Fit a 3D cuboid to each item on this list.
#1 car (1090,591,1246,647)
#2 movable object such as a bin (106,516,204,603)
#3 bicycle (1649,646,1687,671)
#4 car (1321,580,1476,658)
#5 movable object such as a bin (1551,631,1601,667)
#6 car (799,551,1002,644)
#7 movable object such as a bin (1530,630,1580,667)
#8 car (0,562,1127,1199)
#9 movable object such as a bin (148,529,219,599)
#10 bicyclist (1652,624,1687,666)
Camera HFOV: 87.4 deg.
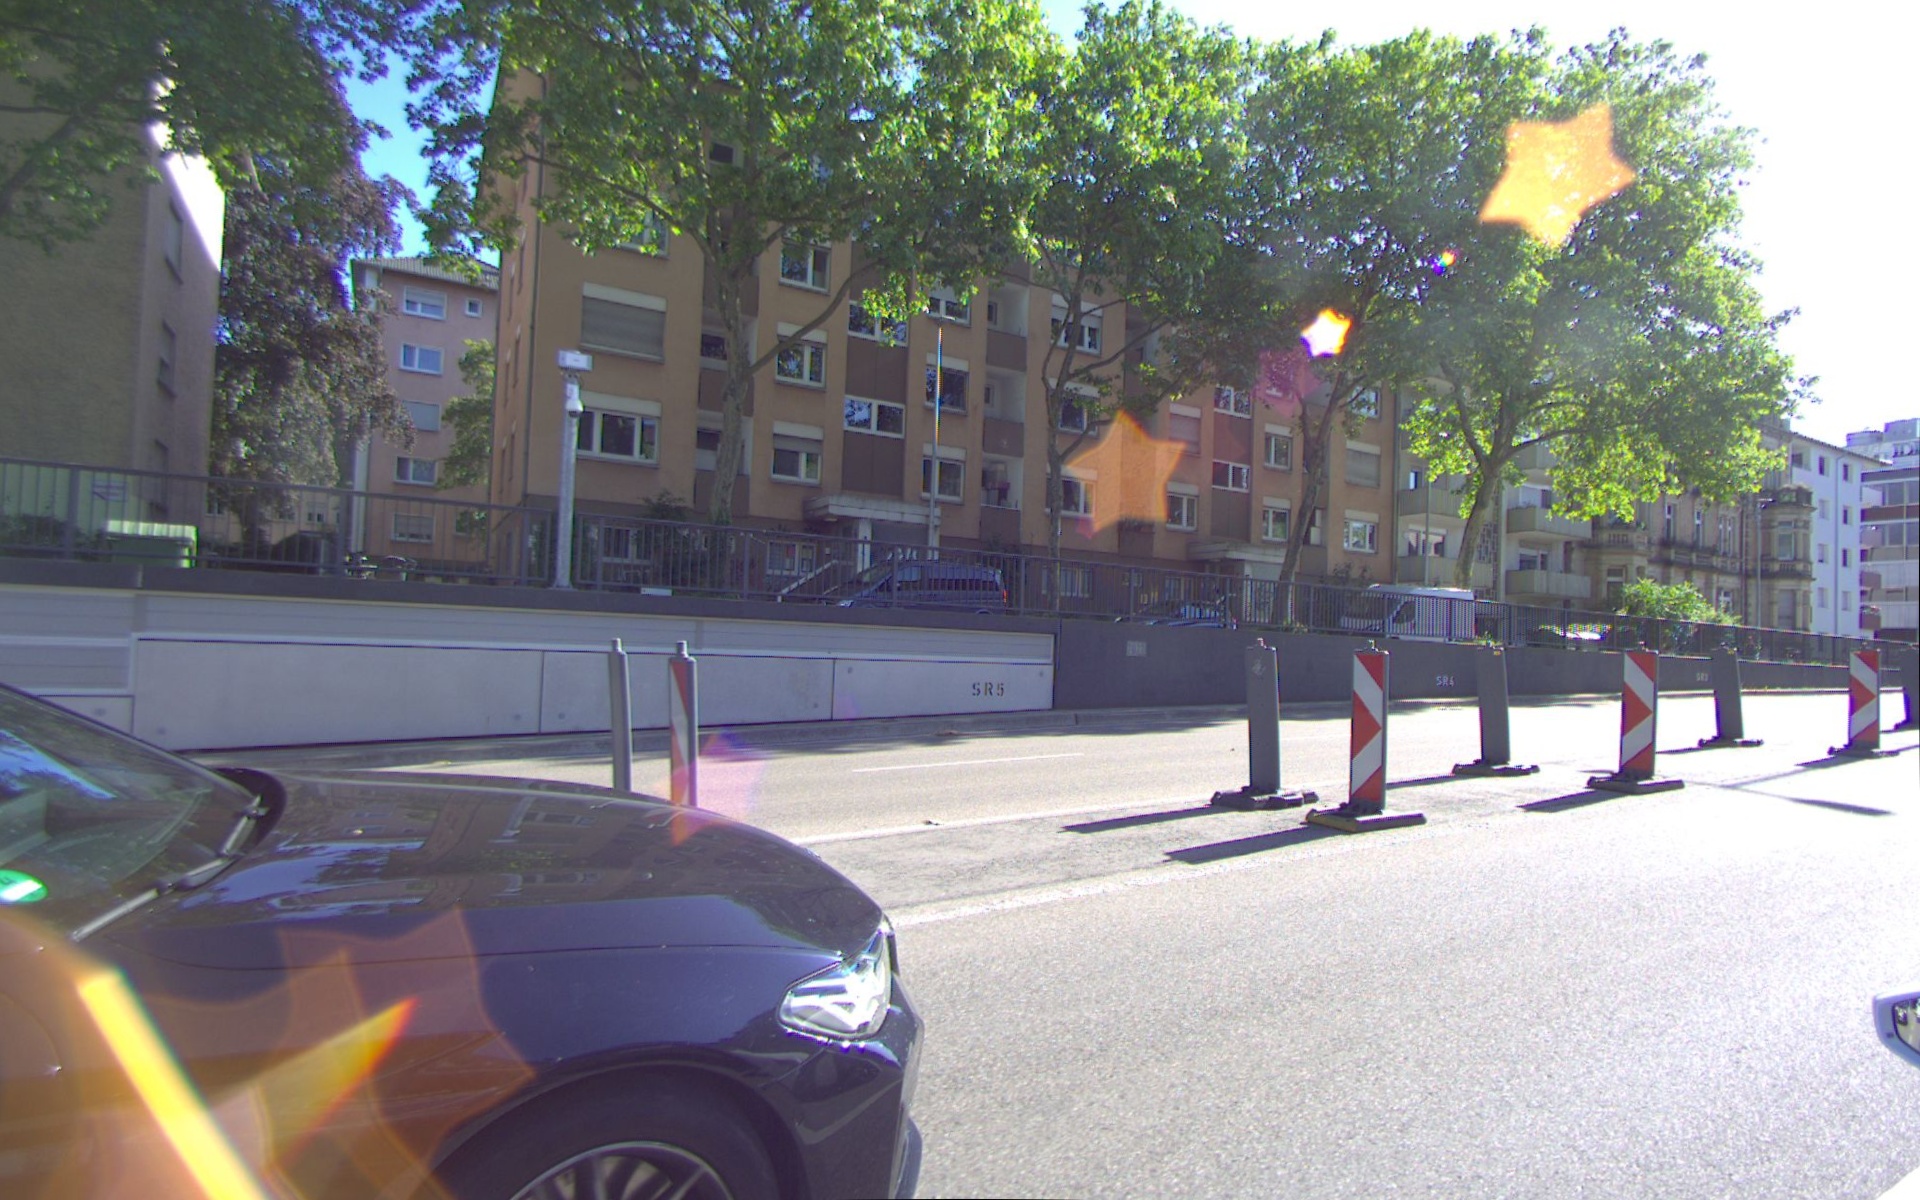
[{"bbox_3d":[5.978,0.545,28.816,4.125,1.407,1.983,3,-1,-31],"label":"car"},{"bbox_3d":[-15.078,-0.730,18.852,1.346,1.504,1.196,3,-1,-38],"label":"movable object such as a bin"},{"bbox_3d":[28.297,2.355,40.125,1.740,0.939,0.652,3,-1,-34],"label":"bicycle"},{"bbox_3d":[14.931,0.666,34.130,5.355,2.390,1.984,3,-1,-30],"label":"car"},{"bbox_3d":[25.804,2.048,42.080,1.309,1.421,1.273,3,-1,-30],"label":"movable object such as a bin"},{"bbox_3d":[-1.404,-0.019,24.290,4.479,1.986,1.954,3,-1,-33],"label":"car"},{"bbox_3d":[24.575,1.989,41.504,1.286,1.421,1.273,3,-1,-30],"label":"movable object such as a bin"},{"bbox_3d":[-2.213,0.668,1.607,4.946,1.458,1.799,1,0,-32],"label":"car"},{"bbox_3d":[-18.013,-0.814,23.352,1.136,1.504,1.305,3,-1,-33],"label":"movable object such as a bin"},{"bbox_3d":[28.362,1.794,40.158,1.012,1.654,0.770,3,0,-34],"label":"bicyclist"}]
